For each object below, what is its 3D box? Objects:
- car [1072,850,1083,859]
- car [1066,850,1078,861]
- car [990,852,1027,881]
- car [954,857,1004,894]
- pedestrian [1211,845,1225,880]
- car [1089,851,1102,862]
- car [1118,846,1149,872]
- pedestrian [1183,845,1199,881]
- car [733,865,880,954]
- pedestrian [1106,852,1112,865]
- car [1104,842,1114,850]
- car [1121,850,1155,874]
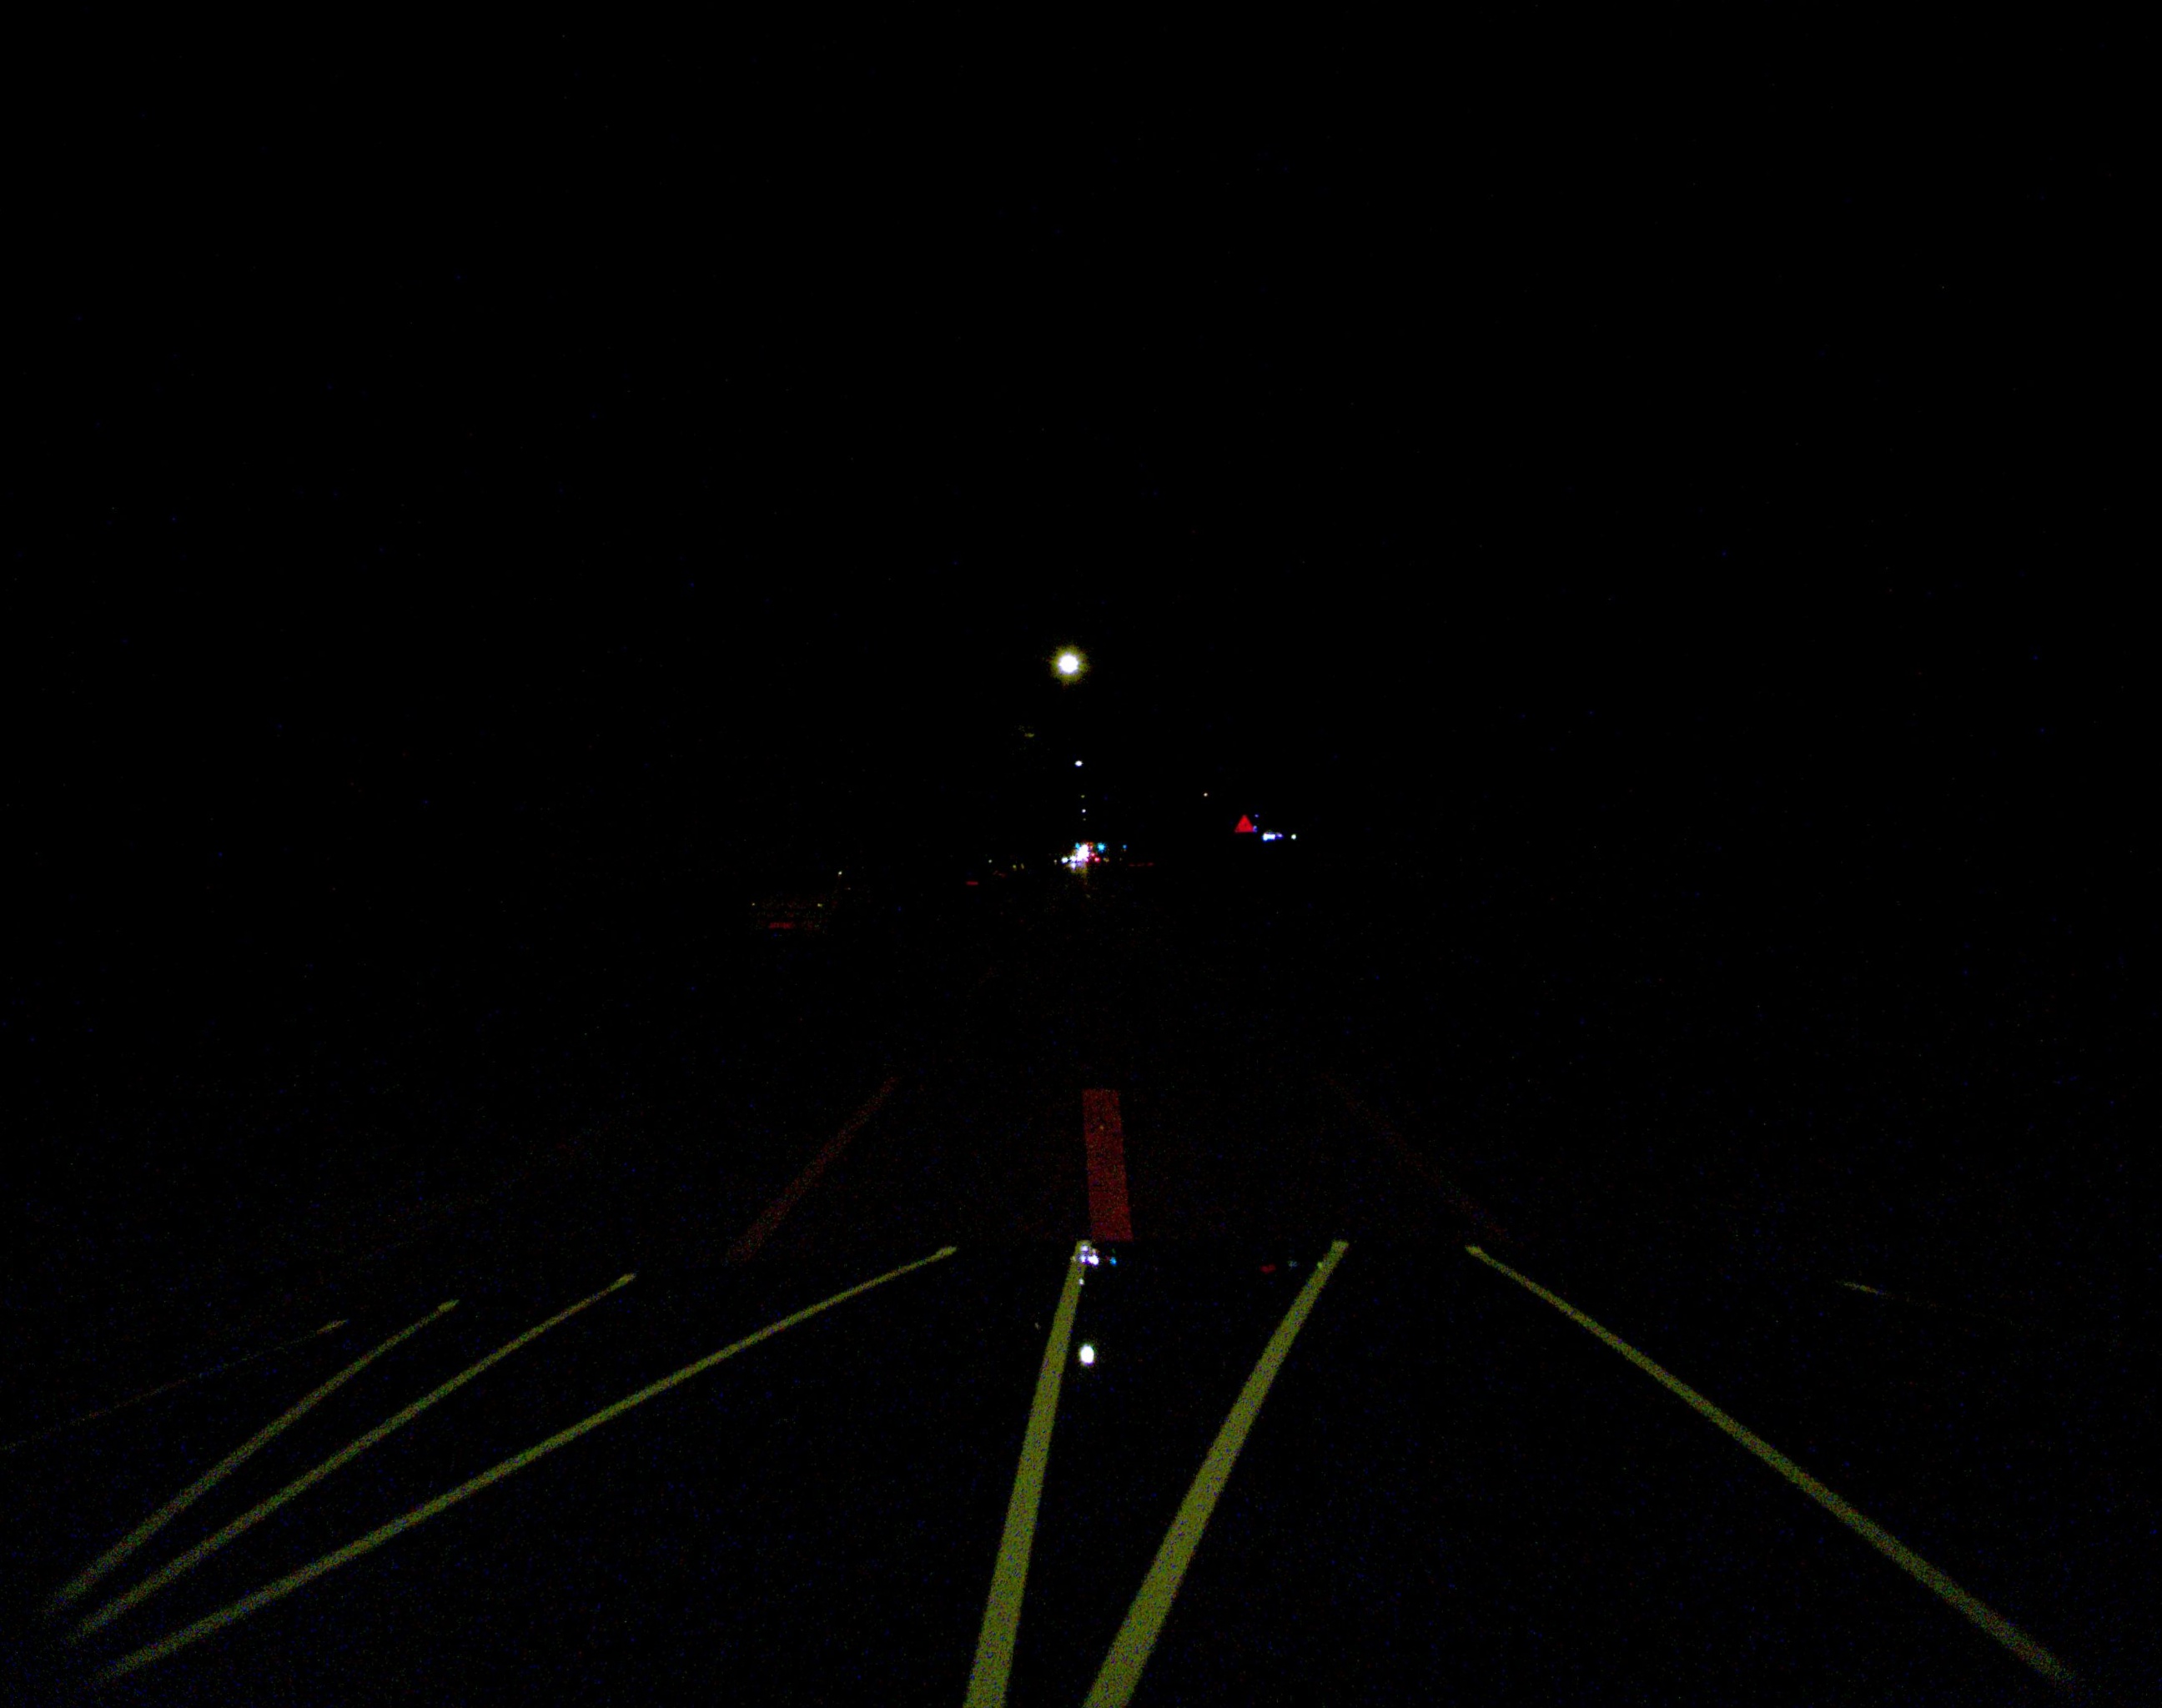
[{"bbox_3d":[-0.663,0.073,146.248,1.998,1.740,3.999,-2,1,1],"label":"car"},{"bbox_3d":[-1.570,0.248,134.728,1.998,1.718,3.803,-2,1,1],"label":"car"},{"bbox_3d":[-4.462,0.751,47.479,1.852,1.643,4.179,-2,0,0],"label":"car"},{"bbox_3d":[-4.471,0.904,33.947,1.742,1.489,3.890,-1,0,-1],"label":"car"},{"bbox_3d":[7.007,0.432,38.804,0.565,1.750,0.500,-2,1,1],"label":"pedestrian"},{"bbox_3d":[1.975,0.349,106.576,1.754,1.433,3.487,-2,-2,1],"label":"car"},{"bbox_3d":[3.899,0.334,57.200,1.998,1.772,3.999,-2,1,1],"label":"car"},{"bbox_3d":[5.504,0.456,38.008,0.673,1.750,0.500,-2,1,1],"label":"pedestrian"},{"bbox_3d":[-5.292,1.007,15.103,1.611,1.500,3.486,0,0,1],"label":"car"},{"bbox_3d":[4.387,0.664,118.192,0.804,2.002,0.940,-2,1,1],"label":"pedestrian"},{"bbox_3d":[5.752,-1.606,153.977,1.903,1.581,3.661,-2,1,2],"label":"car"},{"bbox_3d":[3.887,0.515,52.081,1.998,1.477,3.999,-3,1,1],"label":"car"}]
